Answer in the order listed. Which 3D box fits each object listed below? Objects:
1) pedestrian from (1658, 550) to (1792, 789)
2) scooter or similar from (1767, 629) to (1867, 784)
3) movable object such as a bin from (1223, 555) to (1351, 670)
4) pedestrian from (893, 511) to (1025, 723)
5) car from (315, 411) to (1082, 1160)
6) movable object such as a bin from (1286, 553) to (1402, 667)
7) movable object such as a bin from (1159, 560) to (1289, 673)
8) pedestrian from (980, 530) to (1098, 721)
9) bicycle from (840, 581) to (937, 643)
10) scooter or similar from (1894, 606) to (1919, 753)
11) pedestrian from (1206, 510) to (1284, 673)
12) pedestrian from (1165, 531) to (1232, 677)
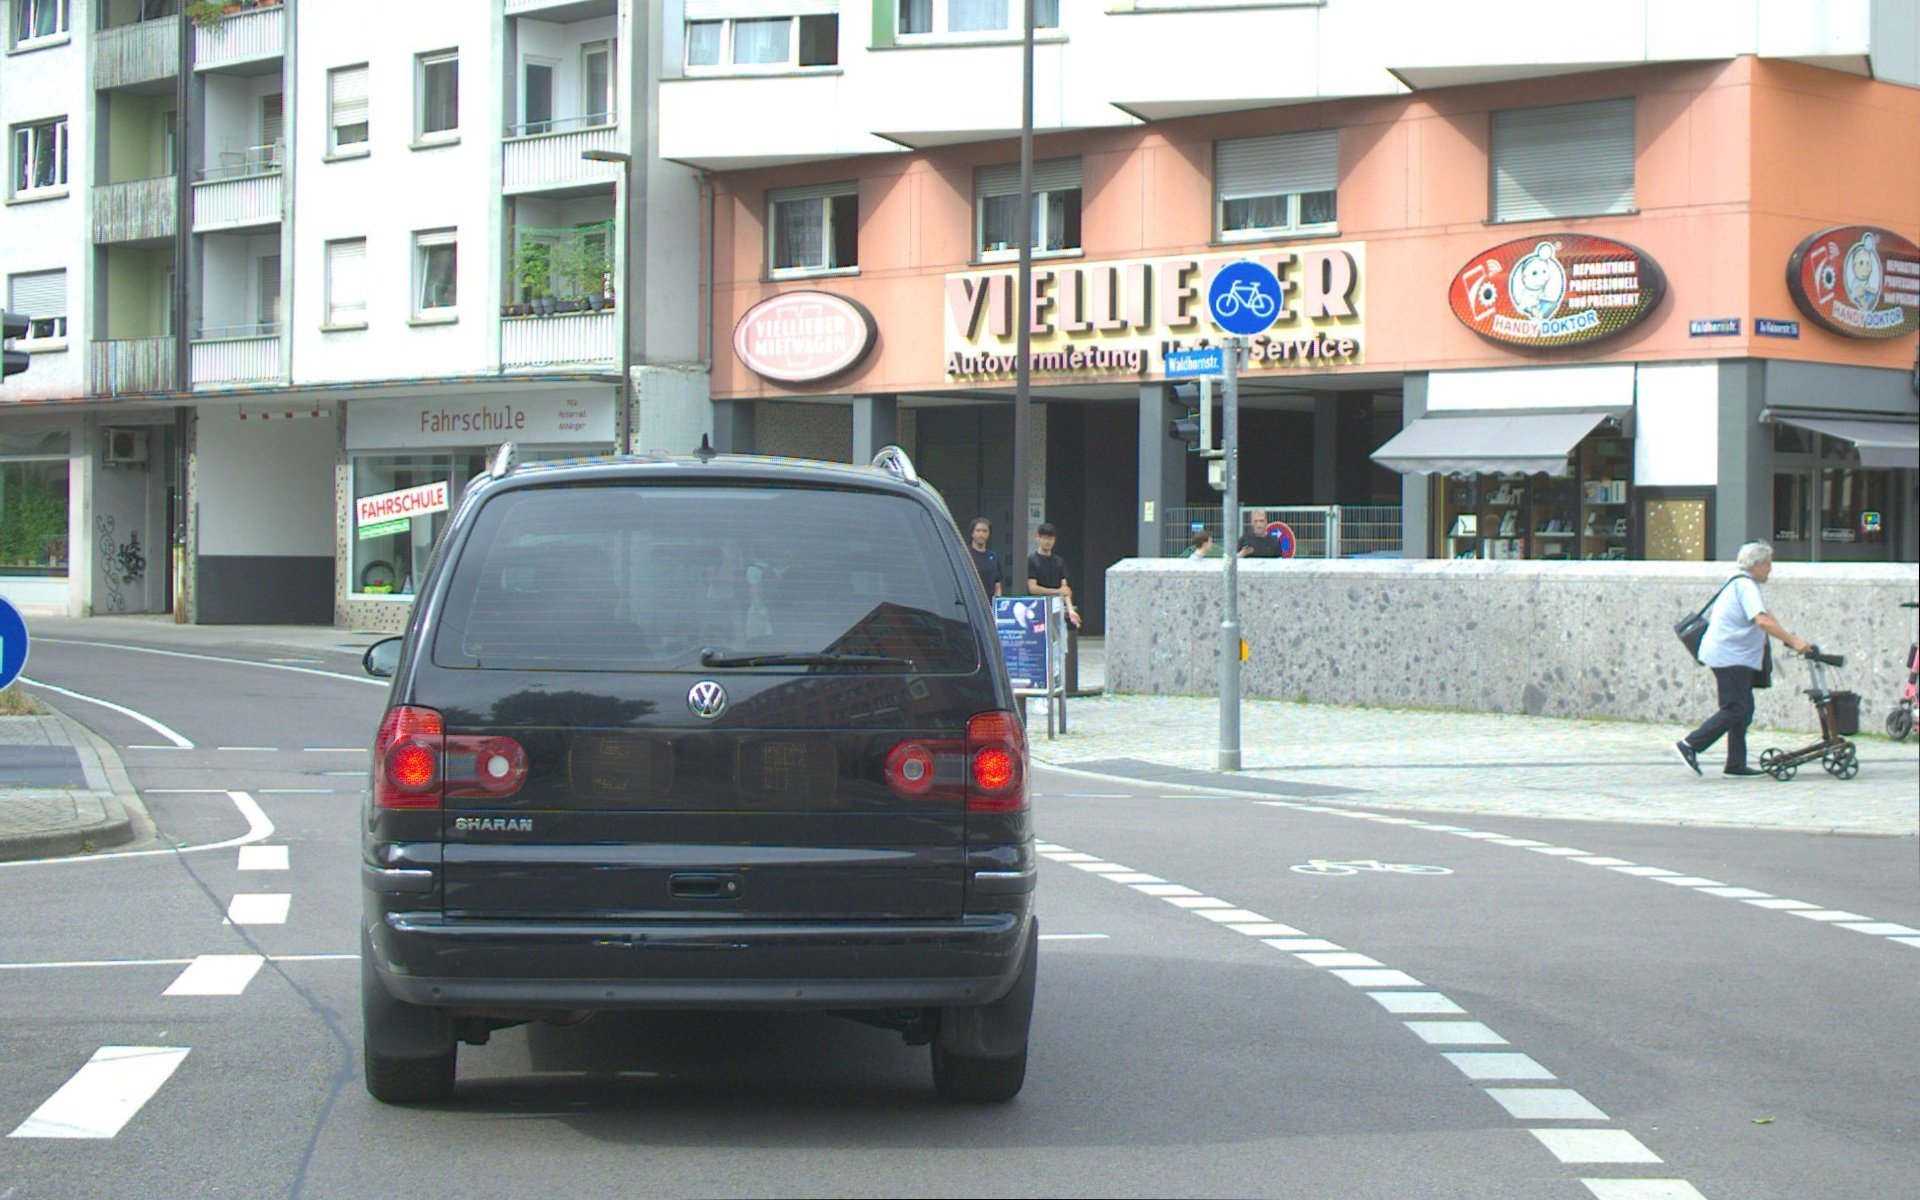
[{"bbox_3d":[5.648,0.500,25.362,0.935,1.734,0.685,0,0,15],"label":"pedestrian"},{"bbox_3d":[6.278,0.770,25.204,0.700,1.106,0.608,0,0,14],"label":"scooter or similar"},{"bbox_3d":[4.352,0.159,45.789,1.194,1.510,1.196,1,0,-45],"label":"movable object such as a bin"},{"bbox_3d":[-0.012,0.146,32.757,1.013,1.964,0.719,1,3,41],"label":"pedestrian"},{"bbox_3d":[-0.886,0.416,10.050,1.812,1.760,3.739,1,1,-9],"label":"car"},{"bbox_3d":[5.206,0.130,46.619,1.003,1.510,1.167,1,0,-45],"label":"movable object such as a bin"},{"bbox_3d":[3.449,0.212,44.941,1.146,1.455,1.223,1,0,-45],"label":"movable object such as a bin"},{"bbox_3d":[0.764,0.231,33.169,0.885,1.793,0.675,1,3,41],"label":"pedestrian"},{"bbox_3d":[-1.097,0.177,52.472,0.452,0.893,1.677,0,1,-44],"label":"bicycle"},{"bbox_3d":[8.102,0.657,28.082,0.285,1.208,1.126,1,0,-22],"label":"scooter or similar"},{"bbox_3d":[3.381,-0.112,40.782,0.672,1.896,0.589,-3,2,-43],"label":"pedestrian"},{"bbox_3d":[2.774,0.039,40.059,0.472,1.667,0.589,-3,2,-43],"label":"pedestrian"}]
